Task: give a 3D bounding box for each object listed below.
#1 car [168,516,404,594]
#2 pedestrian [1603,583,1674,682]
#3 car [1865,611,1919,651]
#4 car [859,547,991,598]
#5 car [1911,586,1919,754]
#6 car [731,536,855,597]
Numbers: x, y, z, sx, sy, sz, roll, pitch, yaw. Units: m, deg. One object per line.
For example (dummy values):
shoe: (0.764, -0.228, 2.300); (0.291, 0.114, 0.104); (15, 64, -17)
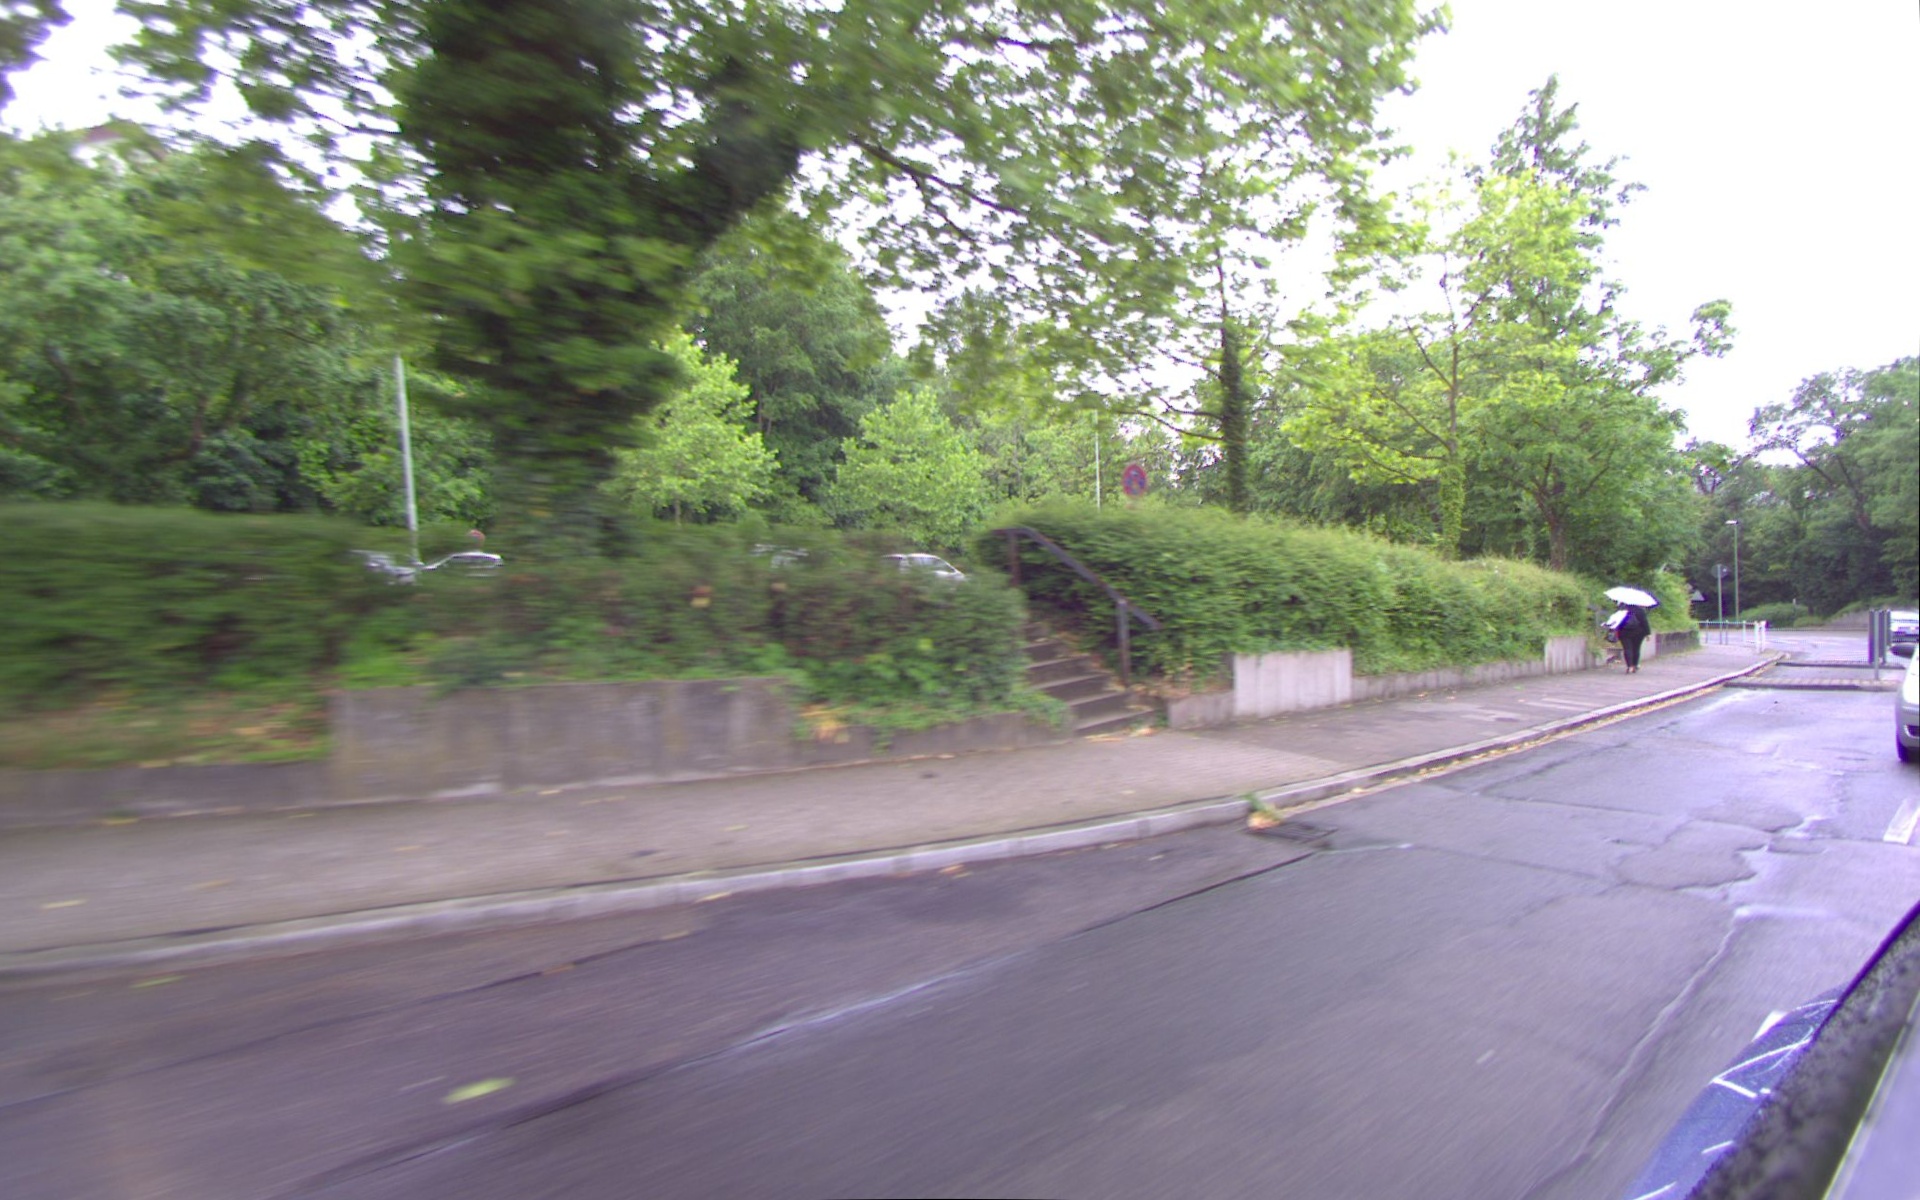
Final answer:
car: (-14.886, -0.925, 22.479); (4.102, 1.472, 1.895); (0, -2, -44)
pedestrian: (13.824, 0.630, 20.615); (1.050, 1.917, 1.116); (-1, 1, 41)
car: (42.830, 1.386, 46.139); (2.026, 1.723, 3.944); (-2, -2, 38)
car: (-1.104, -0.845, 33.119); (4.102, 1.472, 1.895); (0, -2, -44)
car: (10.717, 0.635, 9.831); (3.928, 1.524, 1.639); (0, 0, -39)
car: (-6.091, -1.160, 37.200); (4.281, 2.040, 1.703); (0, -2, -43)
